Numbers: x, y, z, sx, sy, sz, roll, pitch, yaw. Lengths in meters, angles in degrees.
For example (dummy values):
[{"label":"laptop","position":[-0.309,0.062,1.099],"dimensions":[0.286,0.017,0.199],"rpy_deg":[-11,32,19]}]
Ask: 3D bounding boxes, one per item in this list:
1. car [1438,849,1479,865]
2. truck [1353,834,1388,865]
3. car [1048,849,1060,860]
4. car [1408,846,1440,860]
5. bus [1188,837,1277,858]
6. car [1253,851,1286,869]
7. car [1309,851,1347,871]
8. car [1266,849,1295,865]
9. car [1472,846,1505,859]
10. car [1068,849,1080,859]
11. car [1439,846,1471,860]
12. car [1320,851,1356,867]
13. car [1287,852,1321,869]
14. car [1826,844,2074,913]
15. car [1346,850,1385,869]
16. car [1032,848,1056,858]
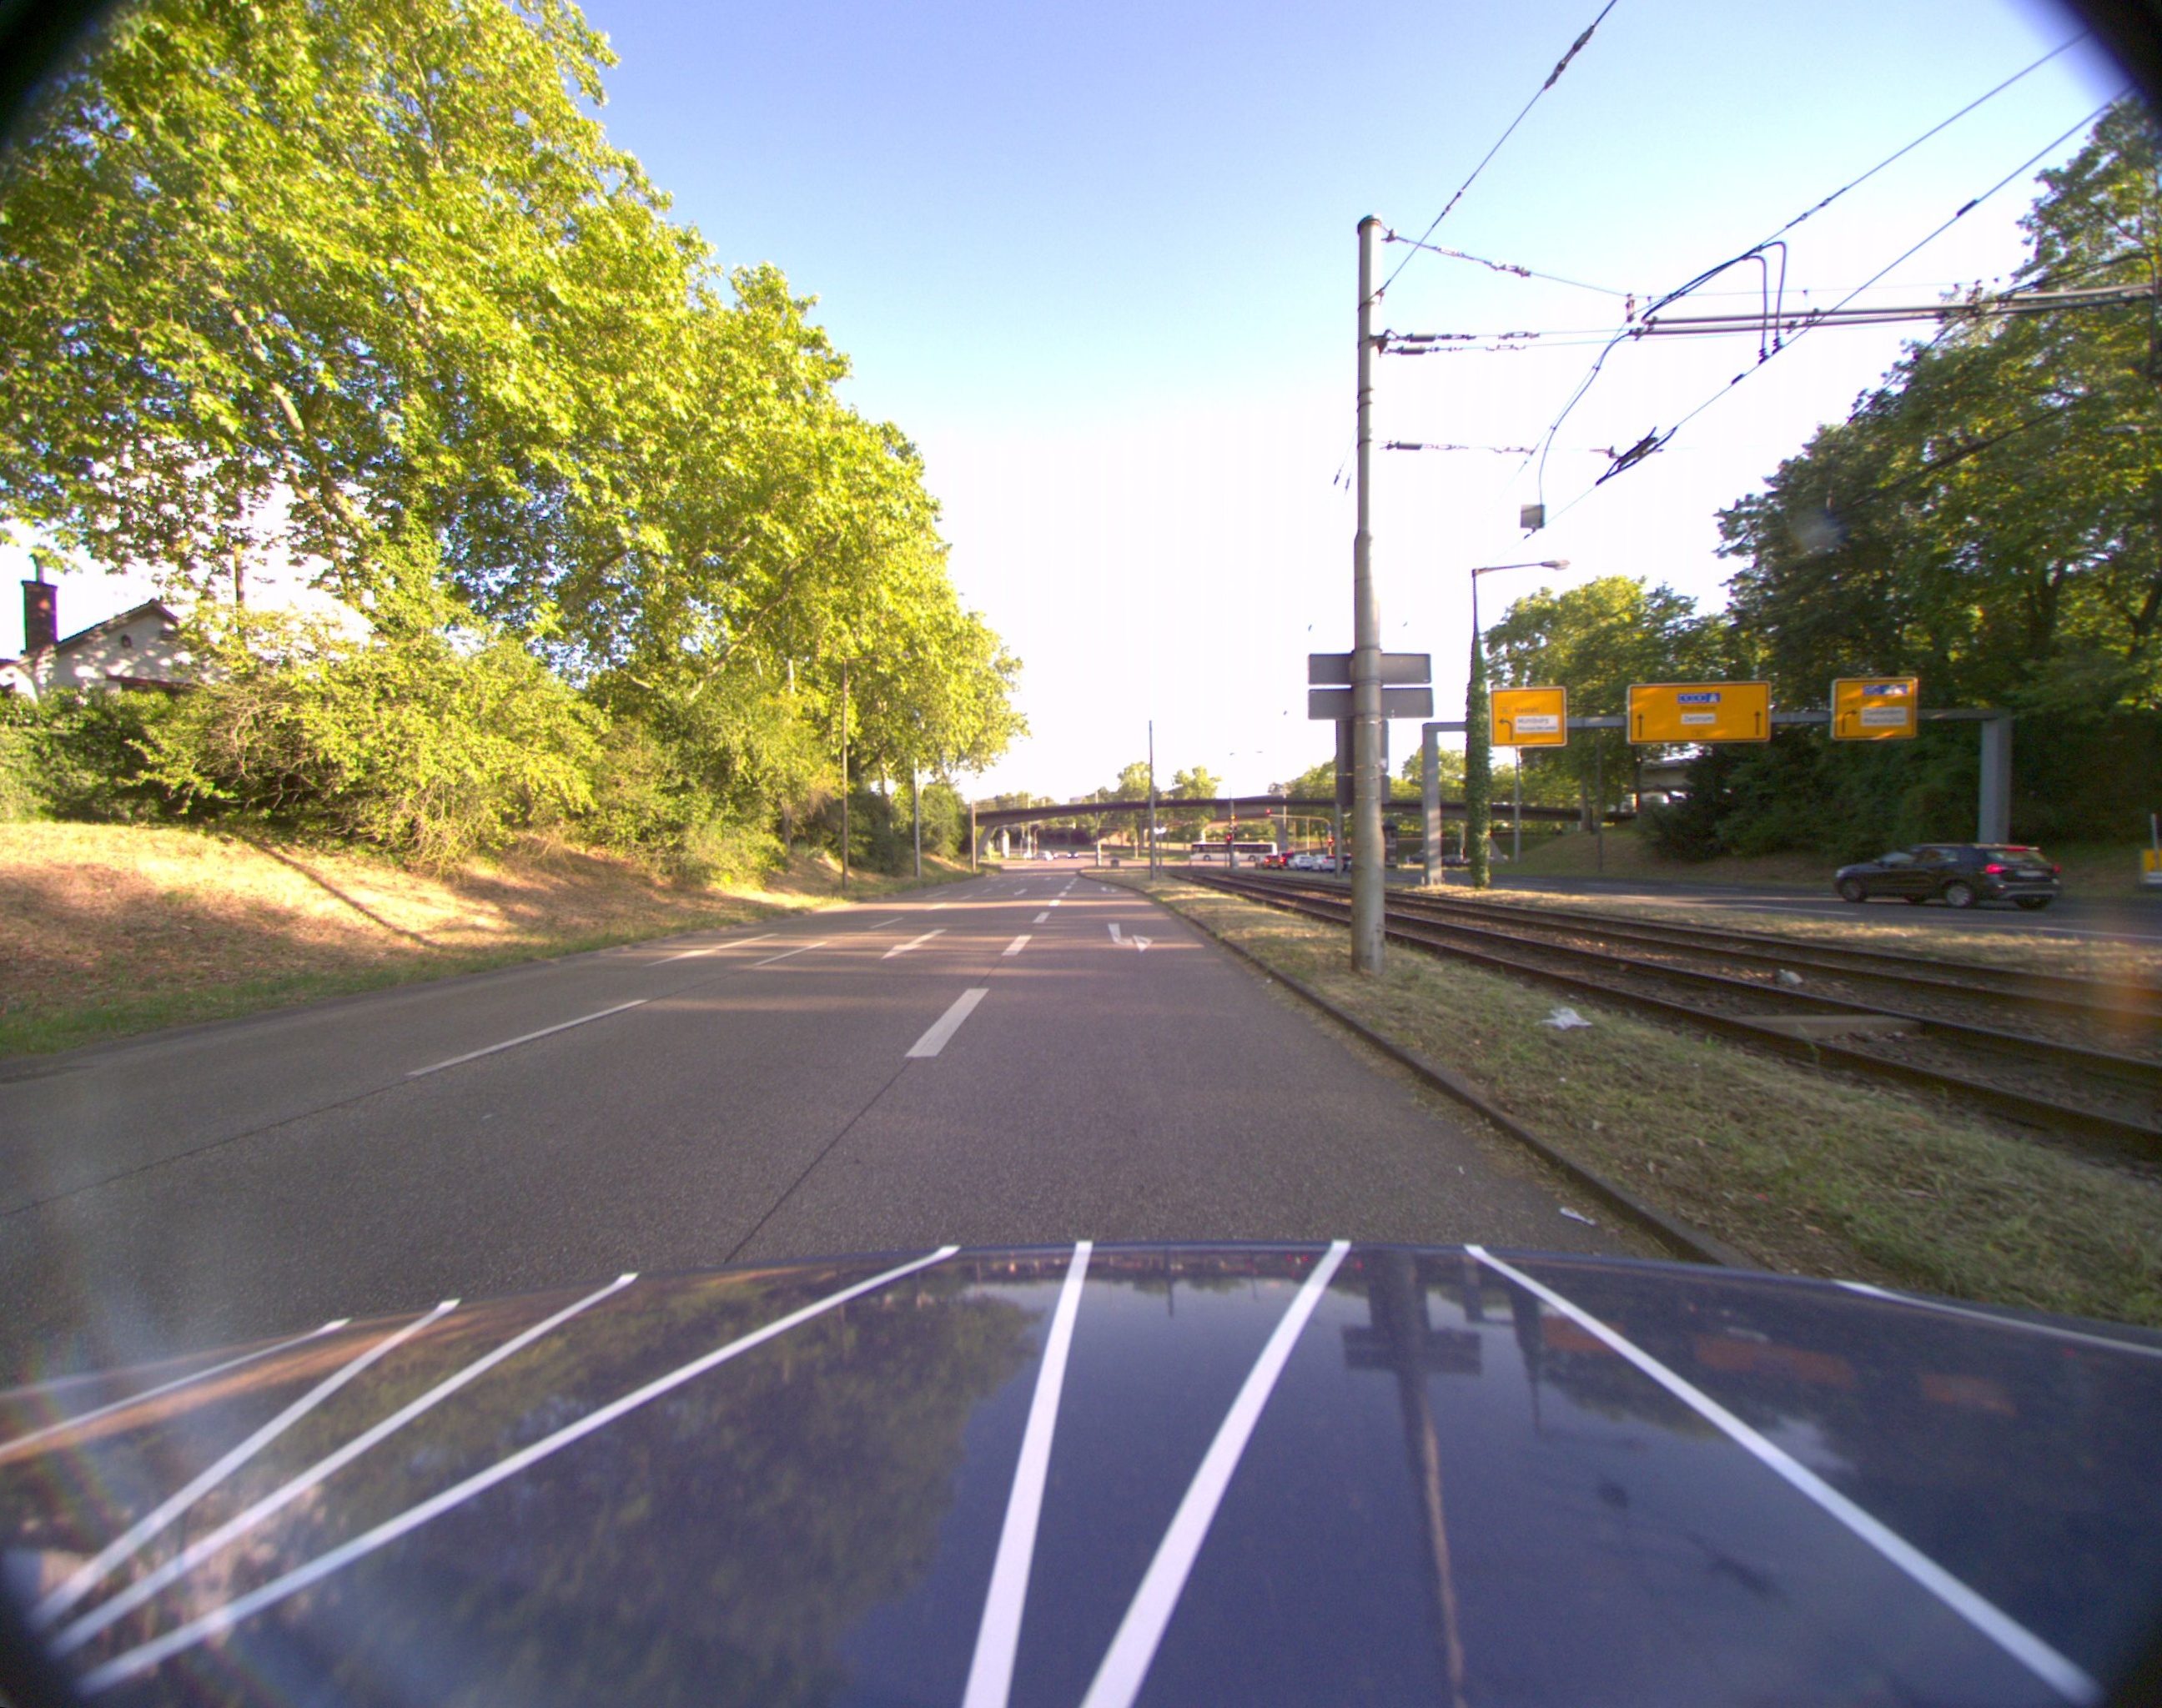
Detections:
[{"label":"car","position":[42.110,0.301,84.863],"dimensions":[3.990,1.646,1.787],"rpy_deg":[-2,1,23]},{"label":"truck","position":[28.385,-0.457,74.802],"dimensions":[2.281,2.862,6.886],"rpy_deg":[-1,0,13]},{"label":"car","position":[-4.899,0.065,139.205],"dimensions":[1.960,1.779,3.998],"rpy_deg":[-2,0,-5]},{"label":"car","position":[46.998,-0.117,104.197],"dimensions":[3.805,1.848,1.679],"rpy_deg":[-2,1,20]},{"label":"bus","position":[23.440,-0.959,117.617],"dimensions":[13.164,2.846,2.420],"rpy_deg":[-2,1,20]},{"label":"car","position":[16.150,0.492,65.238],"dimensions":[1.767,1.535,4.000],"rpy_deg":[-1,0,0]},{"label":"car","position":[20.030,0.527,61.808],"dimensions":[1.767,1.535,4.000],"rpy_deg":[-1,0,0]},{"label":"car","position":[19.584,0.248,74.744],"dimensions":[1.917,1.540,4.227],"rpy_deg":[-1,0,4]},{"label":"car","position":[54.170,-0.143,101.086],"dimensions":[3.804,1.570,1.679],"rpy_deg":[-2,1,24]},{"label":"car","position":[-1.255,0.010,141.881],"dimensions":[1.905,1.726,3.998],"rpy_deg":[-2,0,-5]},{"label":"car","position":[51.969,-0.111,105.609],"dimensions":[3.805,1.848,1.679],"rpy_deg":[-2,1,20]},{"label":"car","position":[23.740,0.456,70.211],"dimensions":[1.868,1.416,4.226],"rpy_deg":[-1,0,0]},{"label":"car","position":[19.918,0.528,68.086],"dimensions":[1.918,1.416,4.227],"rpy_deg":[-1,0,2]},{"label":"car","position":[21.422,0.545,19.013],"dimensions":[1.755,1.548,3.973],"rpy_deg":[0,0,3]},{"label":"car","position":[23.970,0.432,64.083],"dimensions":[1.813,1.535,4.000],"rpy_deg":[-1,0,1]},{"label":"car","position":[-6.298,-0.162,129.212],"dimensions":[3.647,1.503,1.665],"rpy_deg":[-2,1,23]}]
